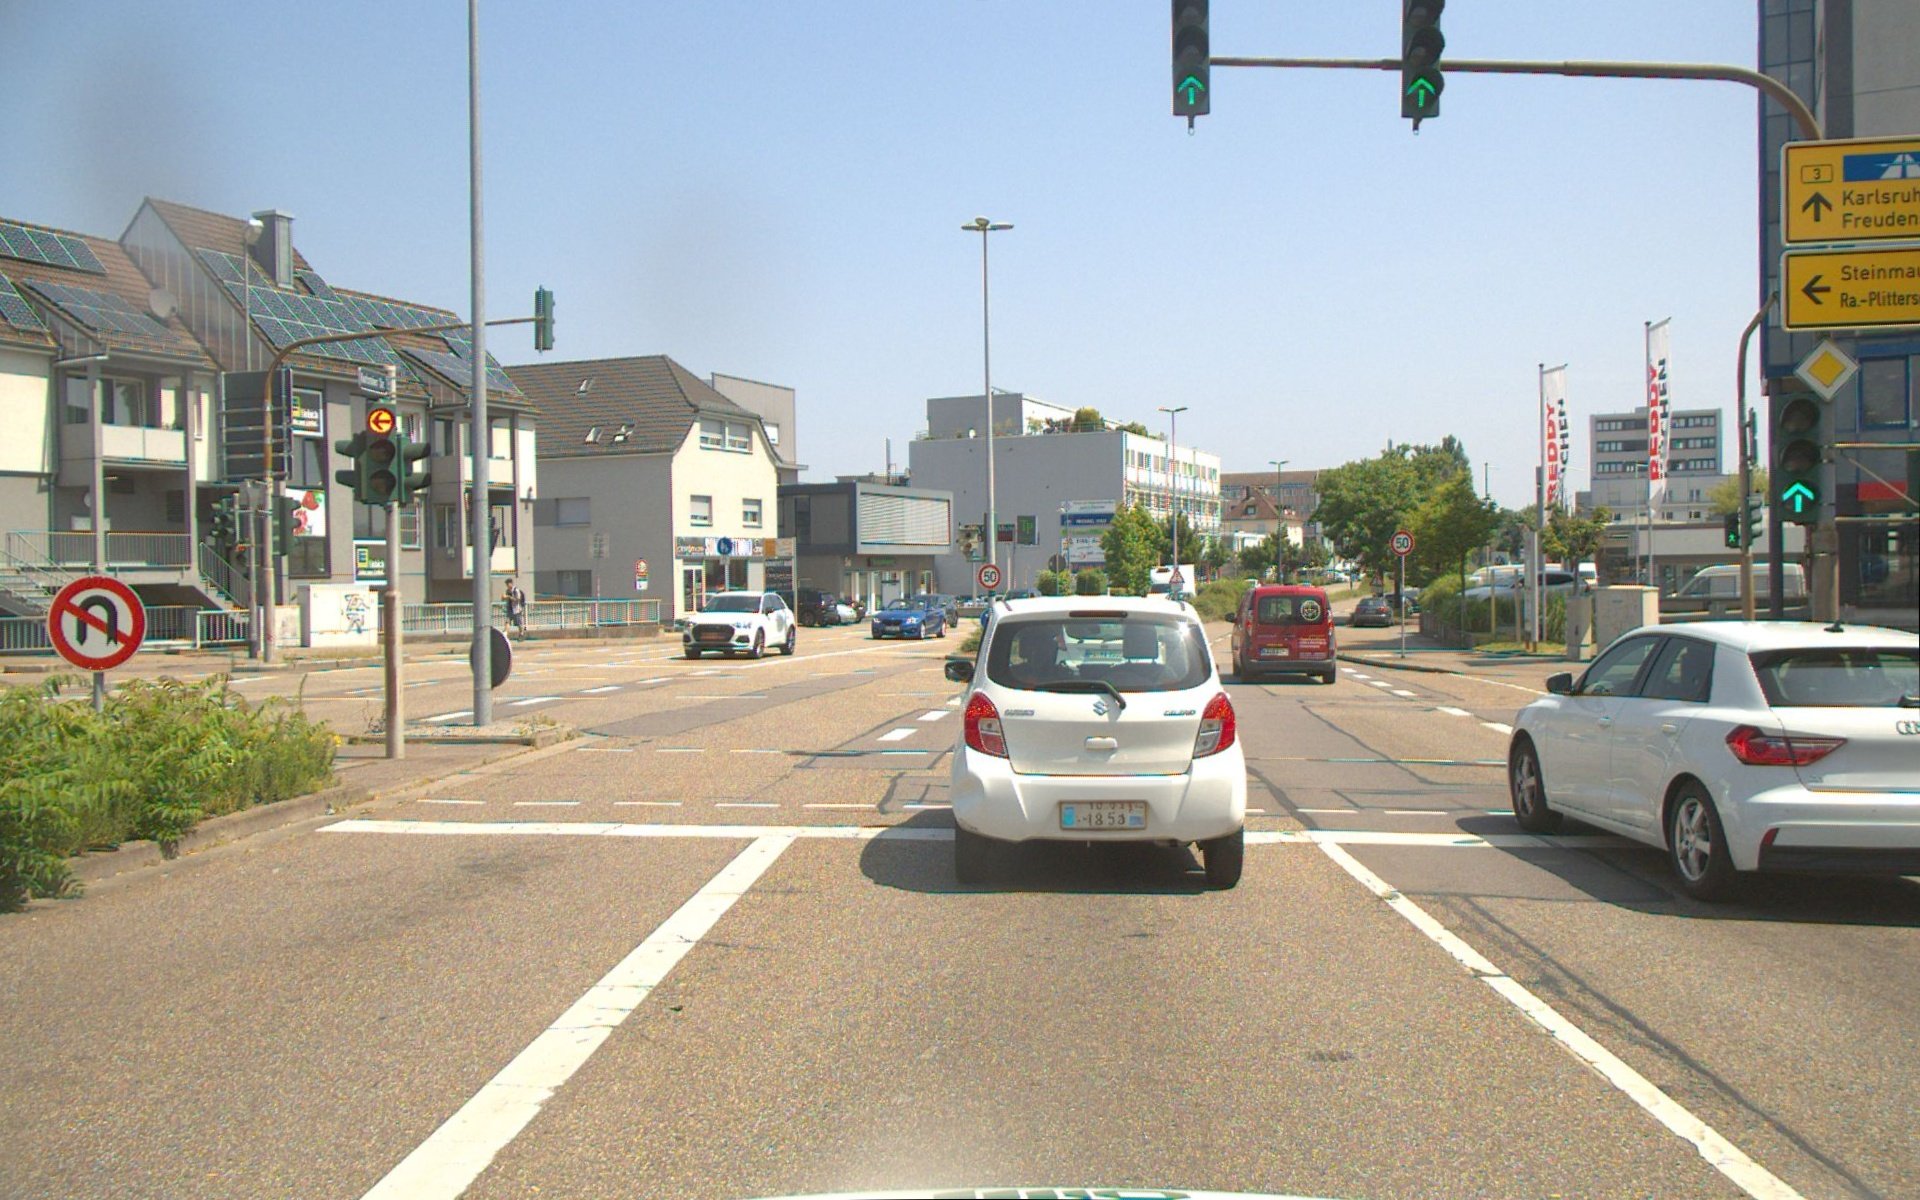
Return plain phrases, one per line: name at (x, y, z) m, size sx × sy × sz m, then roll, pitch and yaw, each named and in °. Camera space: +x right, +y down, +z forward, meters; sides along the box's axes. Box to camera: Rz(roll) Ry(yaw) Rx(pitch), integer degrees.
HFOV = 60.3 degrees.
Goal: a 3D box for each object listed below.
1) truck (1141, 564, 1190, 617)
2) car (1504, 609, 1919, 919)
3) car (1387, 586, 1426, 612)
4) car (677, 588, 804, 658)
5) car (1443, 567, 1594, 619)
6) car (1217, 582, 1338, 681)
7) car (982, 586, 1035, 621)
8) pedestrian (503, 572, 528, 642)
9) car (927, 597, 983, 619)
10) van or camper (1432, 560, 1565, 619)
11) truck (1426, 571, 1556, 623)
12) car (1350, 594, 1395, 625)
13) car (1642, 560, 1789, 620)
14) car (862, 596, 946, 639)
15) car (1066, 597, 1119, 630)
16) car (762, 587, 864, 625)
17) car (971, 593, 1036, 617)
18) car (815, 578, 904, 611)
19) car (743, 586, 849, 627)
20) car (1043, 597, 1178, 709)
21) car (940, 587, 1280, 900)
truck at (14.068, -0.622, 113.030) m, size 2.217 × 3.477 × 7.043 m, roll 1°, pitch 0°, yaw 16°
car at (4.590, 0.777, 9.641) m, size 1.633 × 1.424 × 3.793 m, roll 0°, pitch 0°, yaw 1°
car at (29.834, -0.081, 110.365) m, size 1.920 × 1.556 × 5.162 m, roll -3°, pitch 0°, yaw 21°
car at (-5.349, 0.526, 40.911) m, size 1.778 × 1.597 × 4.560 m, roll 1°, pitch 0°, yaw 11°
car at (19.669, -0.225, 58.350) m, size 4.631 × 1.743 × 1.998 m, roll 1°, pitch 0°, yaw -4°
car at (6.028, 0.551, 31.797) m, size 1.757 × 1.759 × 3.974 m, roll 1°, pitch 0°, yaw 3°
car at (2.469, 0.142, 82.977) m, size 1.951 × 1.685 × 4.598 m, roll -1°, pitch 1°, yaw 11°
pedestrian at (-13.245, 0.196, 49.316) m, size 0.492 × 2.048 × 0.743 m, roll 1°, pitch 1°, yaw 5°
car at (-0.374, 0.624, 128.900) m, size 3.891 × 1.493 × 2.074 m, roll -3°, pitch 0°, yaw 19°
van or camper at (28.973, -0.560, 88.981) m, size 6.656 × 2.948 × 2.276 m, roll -1°, pitch 1°, yaw 21°
truck at (27.238, -0.163, 84.781) m, size 6.118 × 2.377 × 2.368 m, roll -2°, pitch 1°, yaw 23°
car at (20.614, 0.453, 82.598) m, size 1.760 × 1.430 × 4.322 m, roll 1°, pitch 1°, yaw 19°
car at (33.101, -0.450, 72.603) m, size 5.768 × 2.573 × 2.119 m, roll 1°, pitch -1°, yaw 24°
car at (-1.855, 0.570, 56.257) m, size 1.823 × 1.390 × 4.350 m, roll 1°, pitch 0°, yaw 13°
car at (6.060, 0.586, 75.309) m, size 1.823 × 1.456 × 4.749 m, roll 0°, pitch 0°, yaw 12°
car at (-7.088, 0.256, 79.626) m, size 4.508 × 1.522 × 1.754 m, roll 3°, pitch 2°, yaw 13°
car at (2.769, 0.305, 105.589) m, size 3.902 × 1.485 × 1.576 m, roll -1°, pitch -1°, yaw 16°
car at (-5.006, -0.253, 82.550) m, size 3.971 × 1.548 × 2.001 m, roll -1°, pitch 0°, yaw 18°
car at (-7.599, 0.291, 76.676) m, size 4.511 × 1.655 × 1.854 m, roll 3°, pitch 1°, yaw 21°
car at (2.237, 0.708, 24.245) m, size 1.791 × 1.475 × 4.003 m, roll 1°, pitch 0°, yaw 6°
car at (0.768, 0.726, 9.874) m, size 1.677 × 1.537 × 3.247 m, roll 1°, pitch 0°, yaw 1°
